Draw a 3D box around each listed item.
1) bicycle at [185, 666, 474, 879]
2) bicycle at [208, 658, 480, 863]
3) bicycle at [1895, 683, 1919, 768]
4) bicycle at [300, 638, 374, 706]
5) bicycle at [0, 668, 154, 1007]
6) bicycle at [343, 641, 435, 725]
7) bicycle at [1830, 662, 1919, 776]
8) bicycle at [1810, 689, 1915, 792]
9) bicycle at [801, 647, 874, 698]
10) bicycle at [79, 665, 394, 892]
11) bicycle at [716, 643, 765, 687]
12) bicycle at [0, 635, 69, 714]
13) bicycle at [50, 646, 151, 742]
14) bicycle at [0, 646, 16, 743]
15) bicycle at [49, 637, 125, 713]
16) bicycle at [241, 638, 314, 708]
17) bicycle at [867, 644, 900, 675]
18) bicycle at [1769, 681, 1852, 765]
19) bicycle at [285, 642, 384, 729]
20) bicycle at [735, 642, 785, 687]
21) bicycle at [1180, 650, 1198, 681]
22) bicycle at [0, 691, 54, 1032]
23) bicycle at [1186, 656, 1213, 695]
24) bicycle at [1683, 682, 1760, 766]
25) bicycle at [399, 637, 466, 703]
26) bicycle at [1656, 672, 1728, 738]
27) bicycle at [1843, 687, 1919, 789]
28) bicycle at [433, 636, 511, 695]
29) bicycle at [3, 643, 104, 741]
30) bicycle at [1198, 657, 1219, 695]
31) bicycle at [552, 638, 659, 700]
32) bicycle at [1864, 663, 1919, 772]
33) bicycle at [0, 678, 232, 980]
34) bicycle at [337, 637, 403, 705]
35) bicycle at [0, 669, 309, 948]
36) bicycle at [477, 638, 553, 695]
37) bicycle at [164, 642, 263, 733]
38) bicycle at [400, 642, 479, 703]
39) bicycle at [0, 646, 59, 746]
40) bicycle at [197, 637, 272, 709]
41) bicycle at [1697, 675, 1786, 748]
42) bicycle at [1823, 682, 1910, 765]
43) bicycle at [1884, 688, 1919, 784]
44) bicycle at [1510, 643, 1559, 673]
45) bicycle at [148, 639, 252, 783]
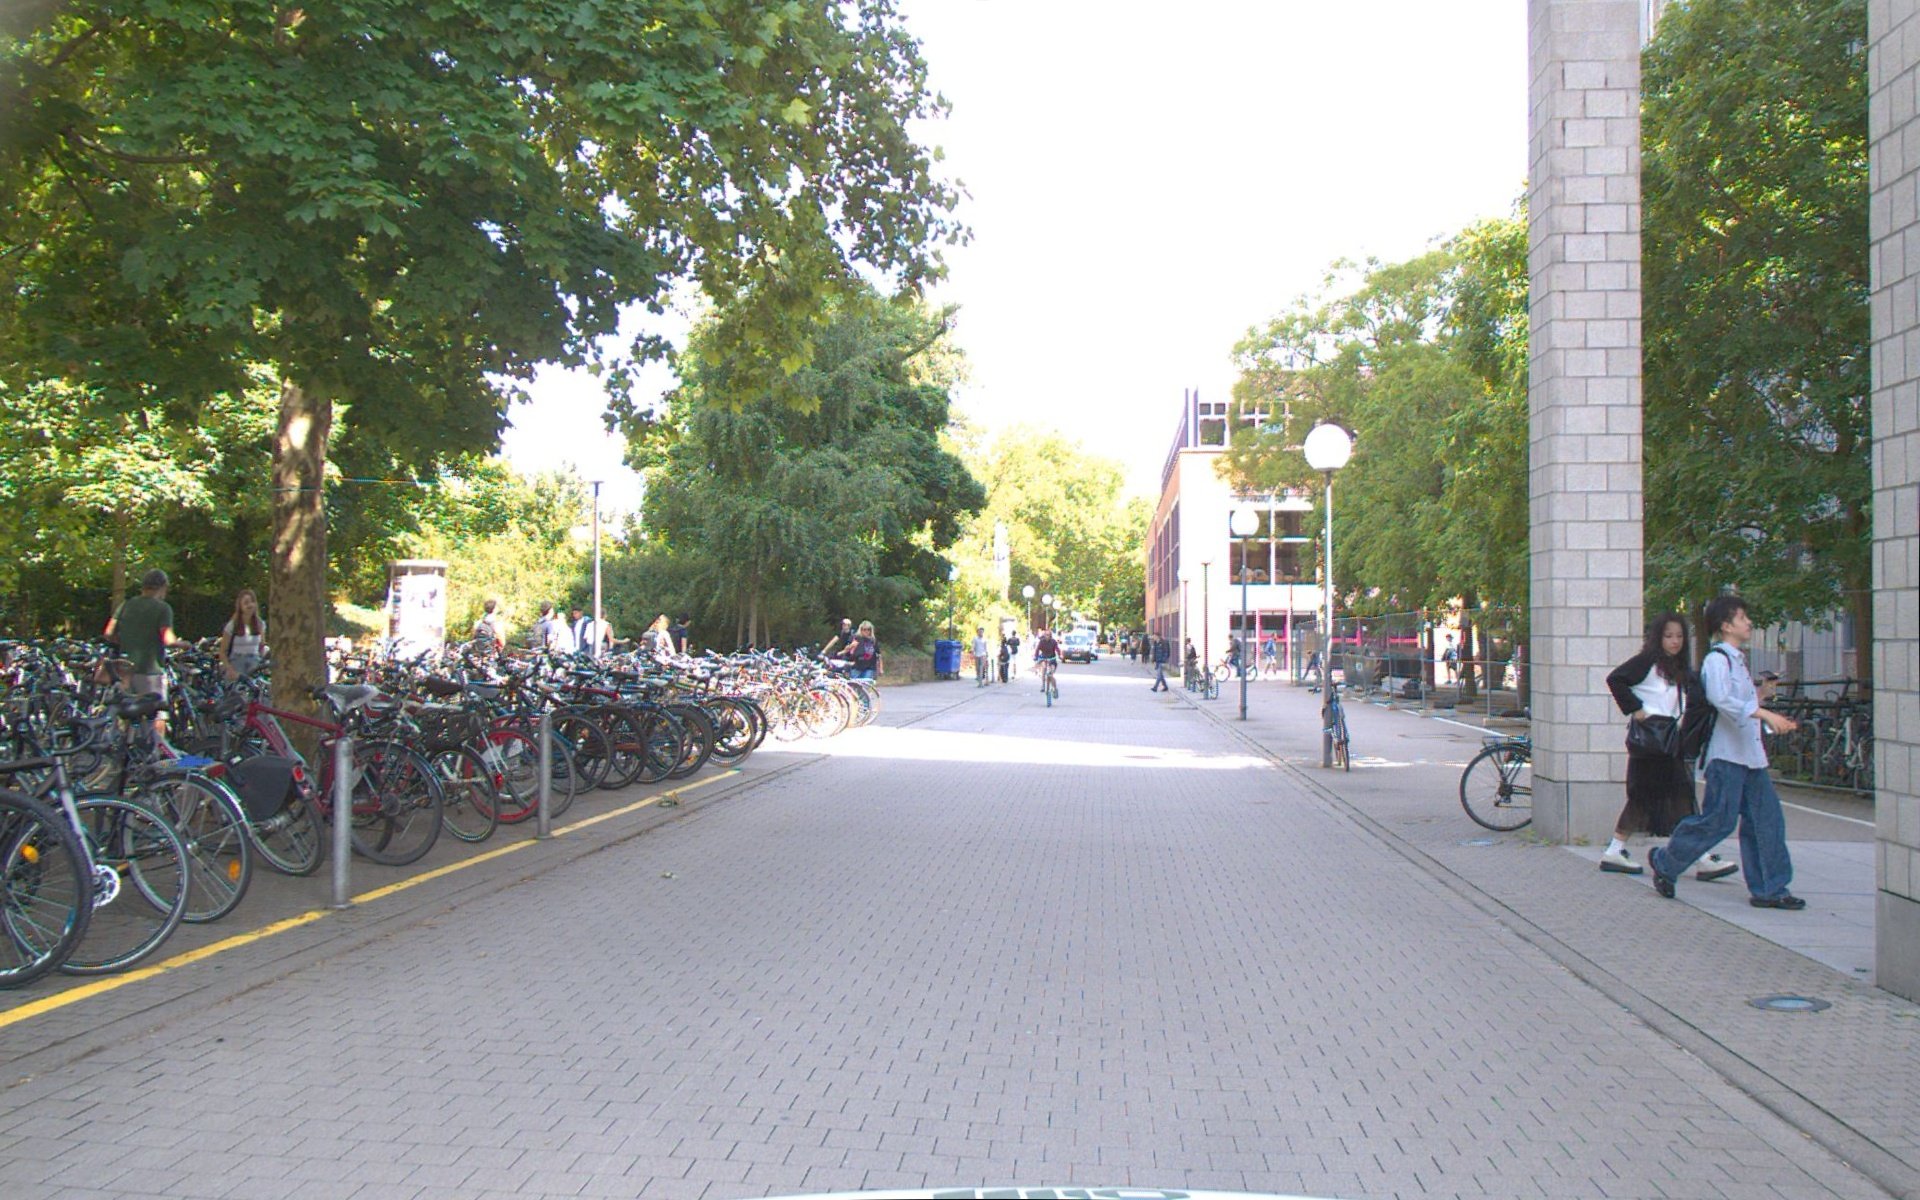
[{"bbox_3d":[-3.658,0.967,9.594,1.590,1.127,0.497,1,-2,19],"label":"bicycle"},{"bbox_3d":[-3.809,0.961,10.220,1.590,1.164,0.497,1,-2,19],"label":"bicycle"},{"bbox_3d":[10.575,1.367,17.746,0.284,0.903,1.448,0,-1,1],"label":"bicycle"},{"bbox_3d":[-10.782,1.234,28.618,1.747,1.130,0.471,0,-2,44],"label":"bicycle"},{"bbox_3d":[-3.993,0.841,6.114,1.743,1.182,0.497,1,-2,0],"label":"bicycle"},{"bbox_3d":[-7.959,1.142,23.035,1.670,1.102,0.471,0,-2,43],"label":"bicycle"},{"bbox_3d":[9.848,1.251,17.748,0.284,1.148,1.448,0,-1,1],"label":"bicycle"},{"bbox_3d":[8.956,1.375,16.462,0.284,0.921,1.448,0,-1,1],"label":"bicycle"},{"bbox_3d":[-2.810,1.664,38.127,0.466,1.130,1.833,0,-2,43],"label":"bicycle"},{"bbox_3d":[-3.971,0.943,9.082,1.590,1.127,0.563,1,-2,19],"label":"bicycle"},{"bbox_3d":[-5.509,1.627,41.469,0.469,1.065,1.678,2,-2,-35],"label":"bicycle"},{"bbox_3d":[-14.128,1.115,25.120,1.747,1.130,0.514,0,-2,44],"label":"bicycle"},{"bbox_3d":[-10.494,1.131,20.176,1.668,1.102,0.471,0,-2,40],"label":"bicycle"},{"bbox_3d":[-11.646,1.081,19.349,1.668,1.102,0.471,0,-2,40],"label":"bicycle"},{"bbox_3d":[-13.658,1.162,25.858,1.747,1.130,0.514,0,-2,44],"label":"bicycle"},{"bbox_3d":[-11.623,1.227,28.153,1.747,1.130,0.471,0,-2,44],"label":"bicycle"},{"bbox_3d":[-2.412,1.880,52.288,0.412,0.926,1.740,0,-3,20],"label":"bicycle"},{"bbox_3d":[10.260,1.468,19.983,0.284,0.921,1.448,0,-1,1],"label":"bicycle"},{"bbox_3d":[-8.429,1.134,22.254,1.668,1.102,0.471,0,-2,40],"label":"bicycle"},{"bbox_3d":[-5.075,1.623,41.920,0.469,1.065,1.678,4,-2,-35],"label":"bicycle"},{"bbox_3d":[7.621,2.174,55.111,0.441,0.979,1.741,-2,-1,4],"label":"bicycle"},{"bbox_3d":[-3.997,0.865,5.479,1.591,1.127,0.645,1,-2,0],"label":"bicycle"},{"bbox_3d":[7.198,2.258,49.753,0.693,1.112,1.749,1,-1,4],"label":"bicycle"},{"bbox_3d":[9.137,1.472,19.889,0.284,0.921,1.448,0,-1,1],"label":"bicycle"},{"bbox_3d":[-9.437,1.240,29.571,0.470,1.130,1.751,2,-2,-41],"label":"bicycle"},{"bbox_3d":[11.043,1.576,25.003,0.285,0.921,1.618,0,-1,-3],"label":"bicycle"},{"bbox_3d":[9.285,1.349,16.427,0.284,0.921,1.448,0,-1,1],"label":"bicycle"},{"bbox_3d":[-9.756,1.292,33.049,1.741,1.130,0.472,0,-2,34],"label":"bicycle"},{"bbox_3d":[-10.858,1.081,19.795,1.668,1.102,0.471,0,-2,40],"label":"bicycle"},{"bbox_3d":[6.585,1.999,43.840,0.387,0.952,1.733,-2,-1,4],"label":"bicycle"},{"bbox_3d":[-6.425,1.255,30.013,1.869,1.065,0.540,1,-1,-13],"label":"bicycle"},{"bbox_3d":[10.234,1.253,17.768,0.284,1.113,1.448,0,-1,1],"label":"bicycle"},{"bbox_3d":[-3.829,0.886,6.597,1.591,1.127,0.497,1,-2,0],"label":"bicycle"},{"bbox_3d":[-10.337,1.231,28.945,0.470,1.130,1.751,2,-2,-41],"label":"bicycle"},{"bbox_3d":[-3.949,0.905,7.571,1.685,1.127,0.719,1,-2,16],"label":"bicycle"},{"bbox_3d":[-9.135,1.357,33.920,1.741,1.130,0.472,0,-2,34],"label":"bicycle"},{"bbox_3d":[-9.579,1.107,21.204,1.668,1.102,0.471,0,-2,40],"label":"bicycle"},{"bbox_3d":[-10.166,1.402,32.262,1.741,1.130,0.472,0,-2,34],"label":"bicycle"},{"bbox_3d":[-11.189,1.102,19.420,1.668,1.102,0.471,0,-2,40],"label":"bicycle"},{"bbox_3d":[-11.928,1.188,27.173,1.747,1.130,0.471,0,-2,44],"label":"bicycle"},{"bbox_3d":[10.788,1.517,22.880,0.285,0.921,1.804,0,-1,-3],"label":"bicycle"},{"bbox_3d":[10.922,1.473,19.972,0.284,0.921,1.448,0,-1,1],"label":"bicycle"},{"bbox_3d":[9.615,1.351,16.263,0.284,0.921,1.448,0,-1,1],"label":"bicycle"},{"bbox_3d":[22.680,2.285,65.336,1.769,1.130,0.474,2,-2,-1],"label":"bicycle"},{"bbox_3d":[-6.998,0.986,15.190,0.569,1.221,1.679,2,-2,-34],"label":"bicycle"}]
